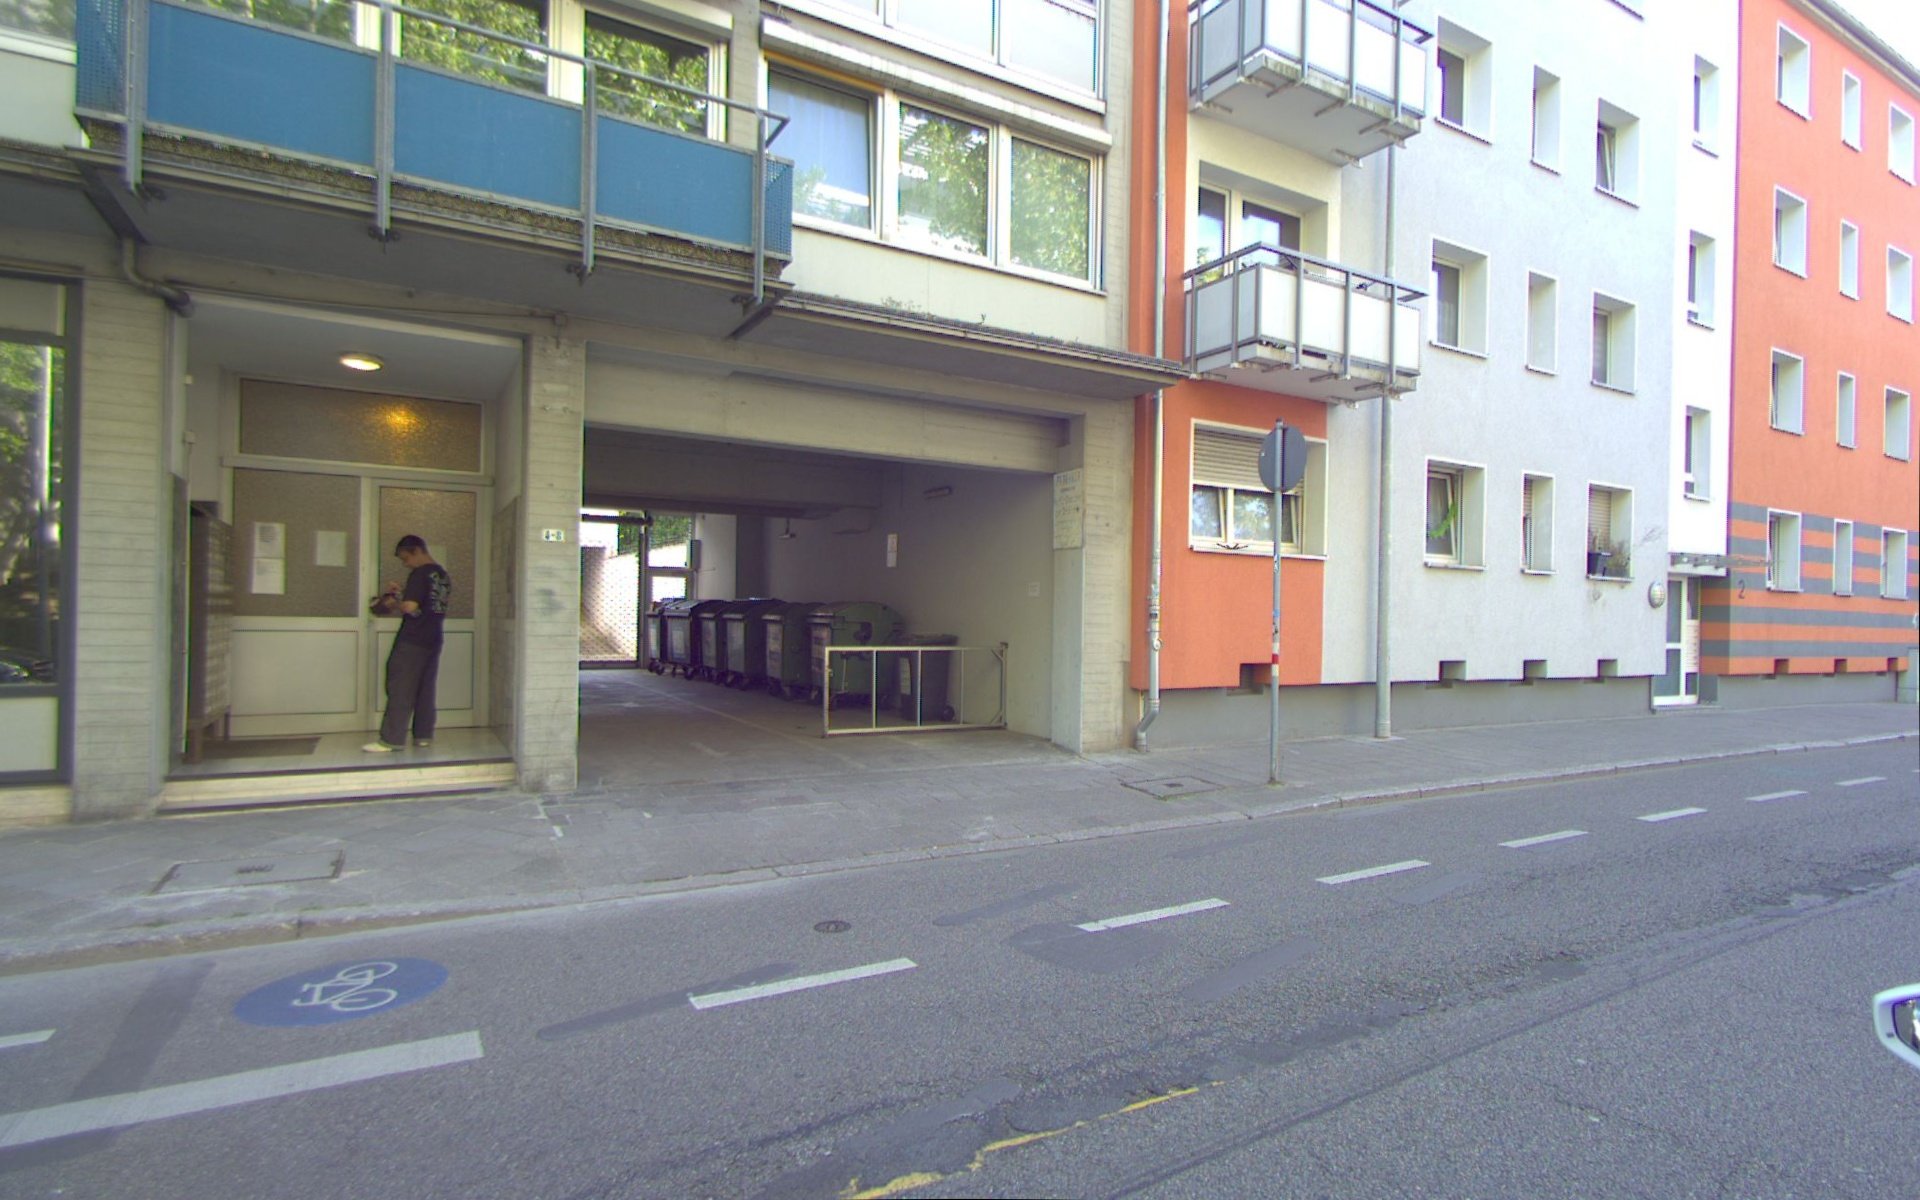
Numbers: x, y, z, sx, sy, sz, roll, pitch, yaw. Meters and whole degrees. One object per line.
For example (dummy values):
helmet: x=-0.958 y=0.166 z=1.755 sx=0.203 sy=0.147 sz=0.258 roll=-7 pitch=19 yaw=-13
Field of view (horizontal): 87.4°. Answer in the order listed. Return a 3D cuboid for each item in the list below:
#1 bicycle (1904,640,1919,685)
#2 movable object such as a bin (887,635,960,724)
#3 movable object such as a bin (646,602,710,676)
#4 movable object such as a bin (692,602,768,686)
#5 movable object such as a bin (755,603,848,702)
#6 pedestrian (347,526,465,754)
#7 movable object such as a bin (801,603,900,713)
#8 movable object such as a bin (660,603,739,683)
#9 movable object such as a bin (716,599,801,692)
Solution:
bicycle: x=26.650 y=1.707 z=26.848 sx=0.581 sy=1.200 sz=1.989 roll=1 pitch=0 yaw=-28
movable object such as a bin: x=-0.453 y=0.970 z=12.504 sx=0.704 sy=1.054 sz=0.583 roll=1 pitch=0 yaw=-30
movable object such as a bin: x=-5.661 y=0.764 z=20.135 sx=1.010 sy=1.409 sz=1.246 roll=1 pitch=0 yaw=-27
movable object such as a bin: x=-4.065 y=0.757 z=17.719 sx=1.012 sy=1.409 sz=1.046 roll=1 pitch=0 yaw=-31
movable object such as a bin: x=-2.405 y=0.767 z=15.165 sx=1.011 sy=1.409 sz=1.319 roll=1 pitch=0 yaw=-27
pedestrian: x=-4.482 y=0.310 z=8.143 sx=0.518 sy=1.764 sz=0.630 roll=1 pitch=0 yaw=27
movable object such as a bin: x=-1.528 y=0.766 z=13.856 sx=1.009 sy=1.438 sz=1.320 roll=1 pitch=0 yaw=-23
movable object such as a bin: x=-4.849 y=0.772 z=18.678 sx=1.014 sy=1.409 sz=1.264 roll=1 pitch=0 yaw=-37
movable object such as a bin: x=-3.364 y=0.732 z=16.687 sx=1.011 sy=1.462 sz=1.317 roll=1 pitch=0 yaw=-29
